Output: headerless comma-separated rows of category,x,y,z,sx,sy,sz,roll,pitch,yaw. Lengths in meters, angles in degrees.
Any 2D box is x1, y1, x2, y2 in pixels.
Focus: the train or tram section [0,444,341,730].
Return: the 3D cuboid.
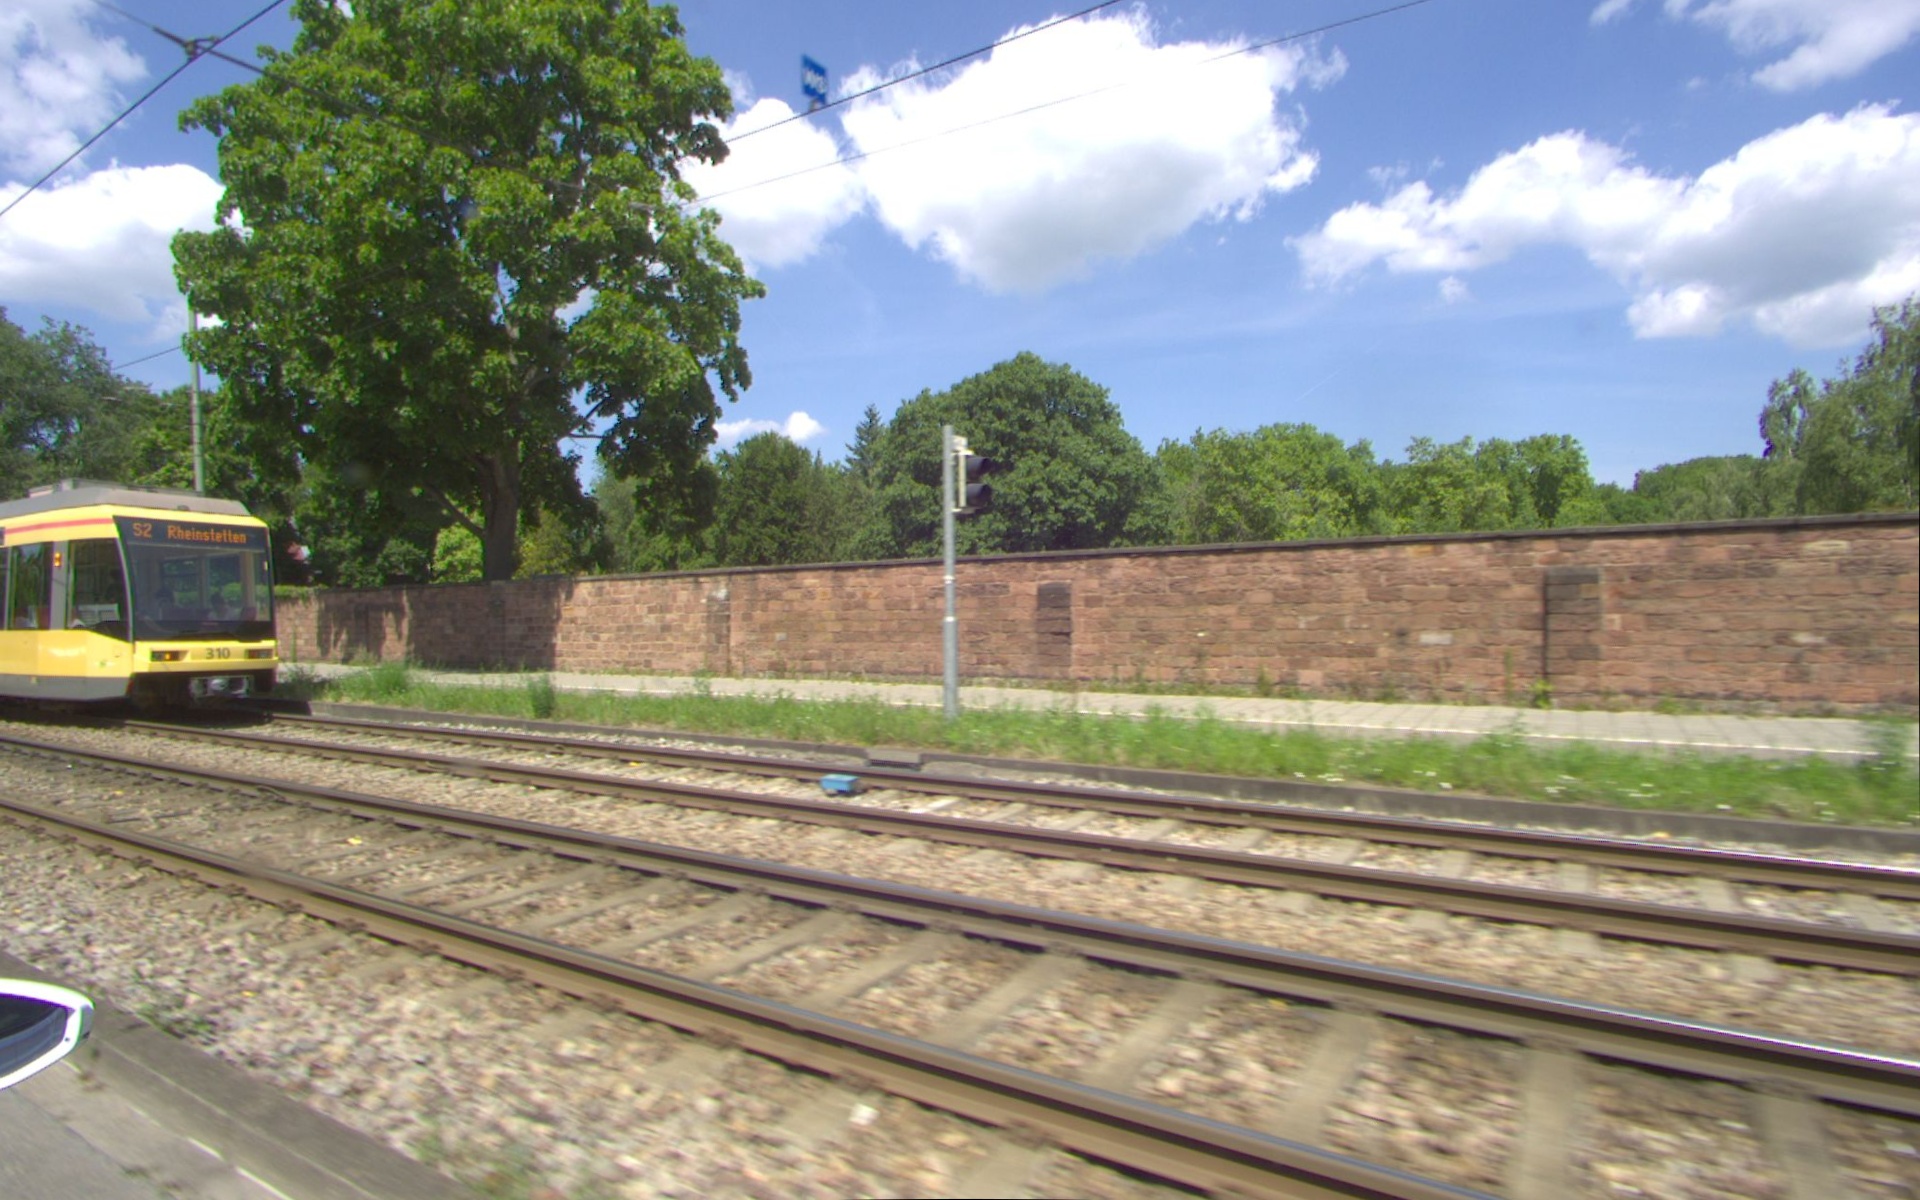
train or tram section,-18.118,-0.061,19.090,18.121,3.739,2.939,-1,-1,32
